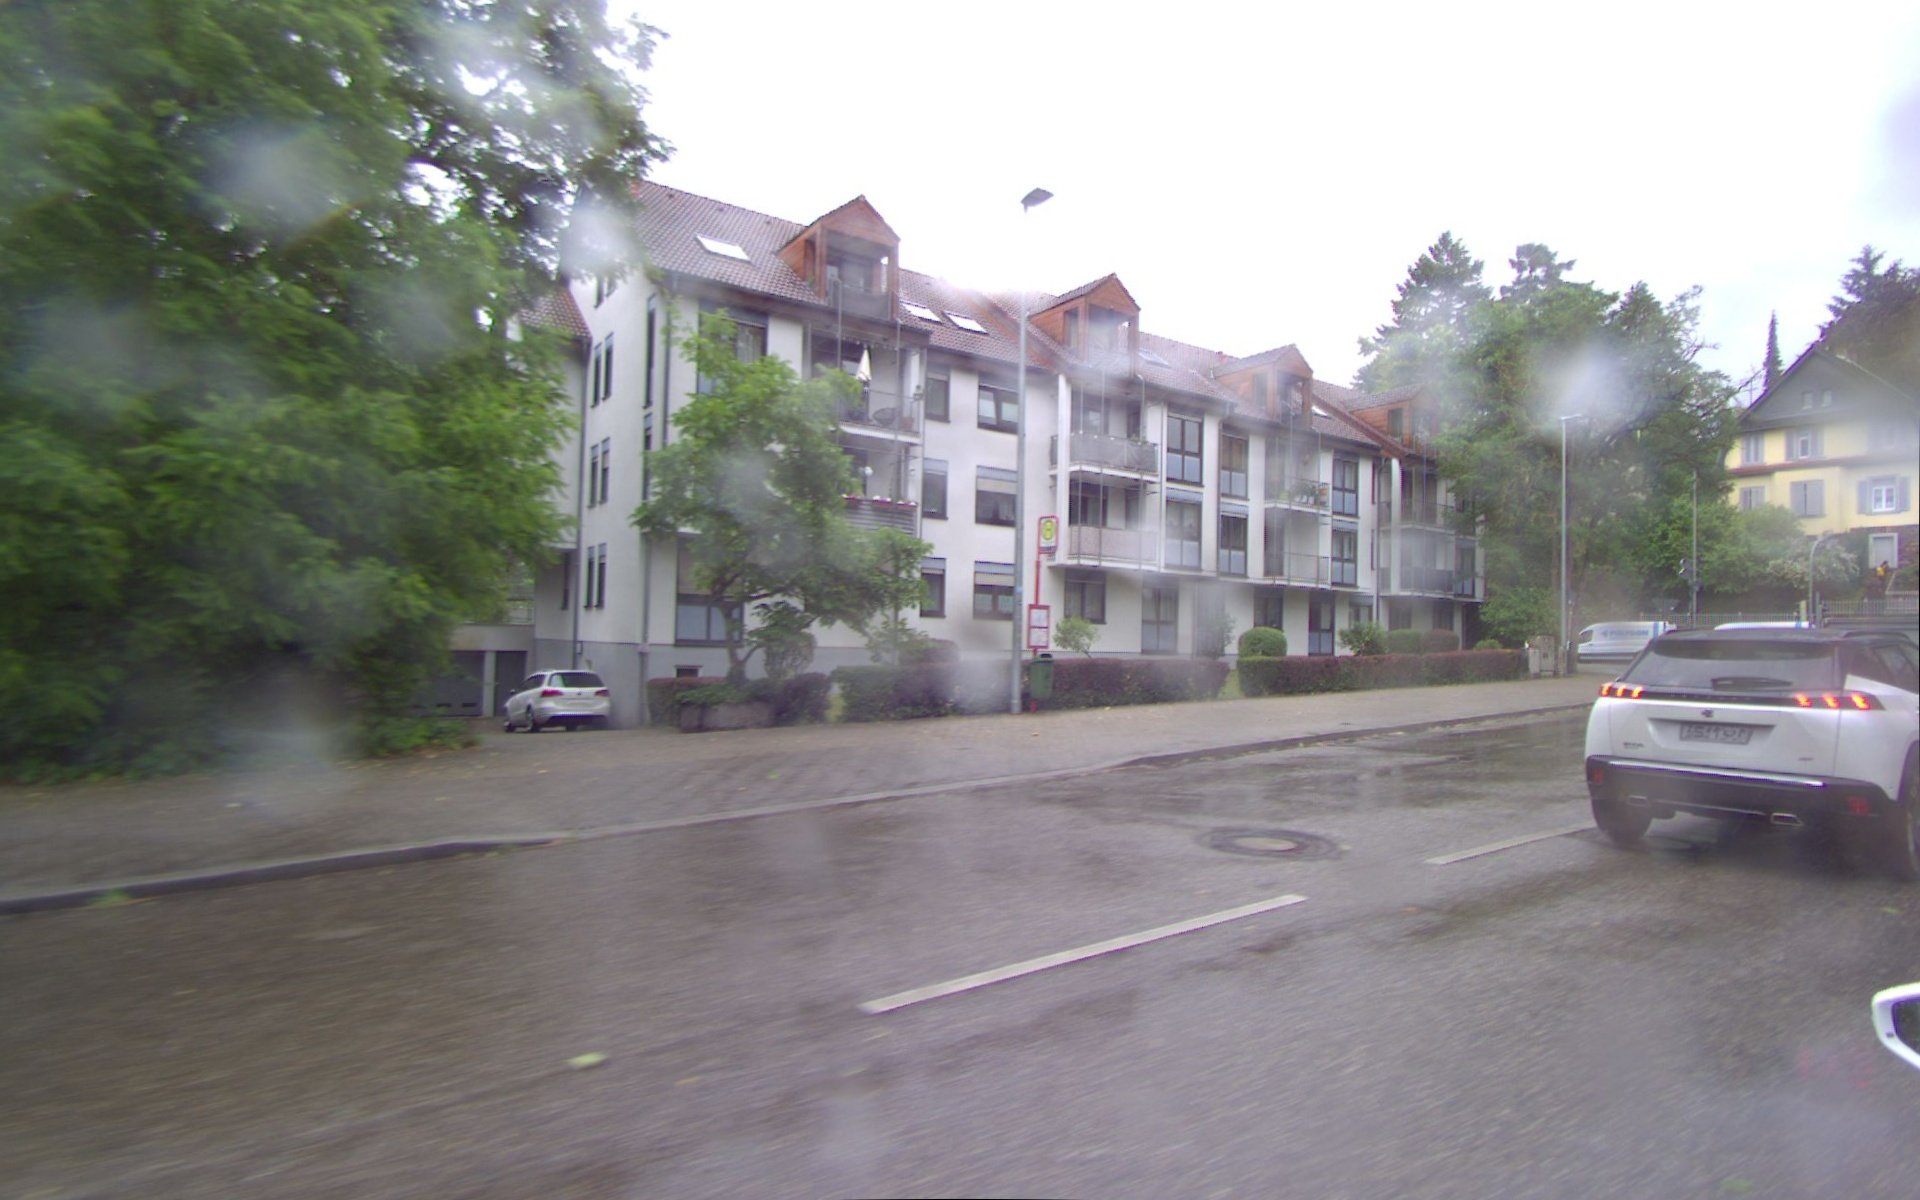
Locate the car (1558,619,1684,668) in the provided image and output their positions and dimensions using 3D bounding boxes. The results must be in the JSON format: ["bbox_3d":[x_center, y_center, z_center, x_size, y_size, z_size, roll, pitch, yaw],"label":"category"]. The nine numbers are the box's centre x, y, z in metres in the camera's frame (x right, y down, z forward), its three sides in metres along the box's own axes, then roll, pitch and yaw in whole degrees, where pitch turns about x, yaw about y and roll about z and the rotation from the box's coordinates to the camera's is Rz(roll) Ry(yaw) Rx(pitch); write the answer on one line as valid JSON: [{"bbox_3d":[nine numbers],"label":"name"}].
[{"bbox_3d":[37.642,2.427,57.345,2.292,2.527,5.528,3,-2,-34],"label":"car"}]

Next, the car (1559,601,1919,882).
[{"bbox_3d":[6.420,0.868,7.583,4.326,1.556,1.740,2,-2,-36],"label":"car"}]

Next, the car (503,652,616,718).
[{"bbox_3d":[-9.894,2.137,24.697,1.709,1.505,3.525,4,-7,-37],"label":"car"}]

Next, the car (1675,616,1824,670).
[{"bbox_3d":[40.923,2.197,52.234,2.292,2.527,5.625,3,-2,-34],"label":"car"}]
